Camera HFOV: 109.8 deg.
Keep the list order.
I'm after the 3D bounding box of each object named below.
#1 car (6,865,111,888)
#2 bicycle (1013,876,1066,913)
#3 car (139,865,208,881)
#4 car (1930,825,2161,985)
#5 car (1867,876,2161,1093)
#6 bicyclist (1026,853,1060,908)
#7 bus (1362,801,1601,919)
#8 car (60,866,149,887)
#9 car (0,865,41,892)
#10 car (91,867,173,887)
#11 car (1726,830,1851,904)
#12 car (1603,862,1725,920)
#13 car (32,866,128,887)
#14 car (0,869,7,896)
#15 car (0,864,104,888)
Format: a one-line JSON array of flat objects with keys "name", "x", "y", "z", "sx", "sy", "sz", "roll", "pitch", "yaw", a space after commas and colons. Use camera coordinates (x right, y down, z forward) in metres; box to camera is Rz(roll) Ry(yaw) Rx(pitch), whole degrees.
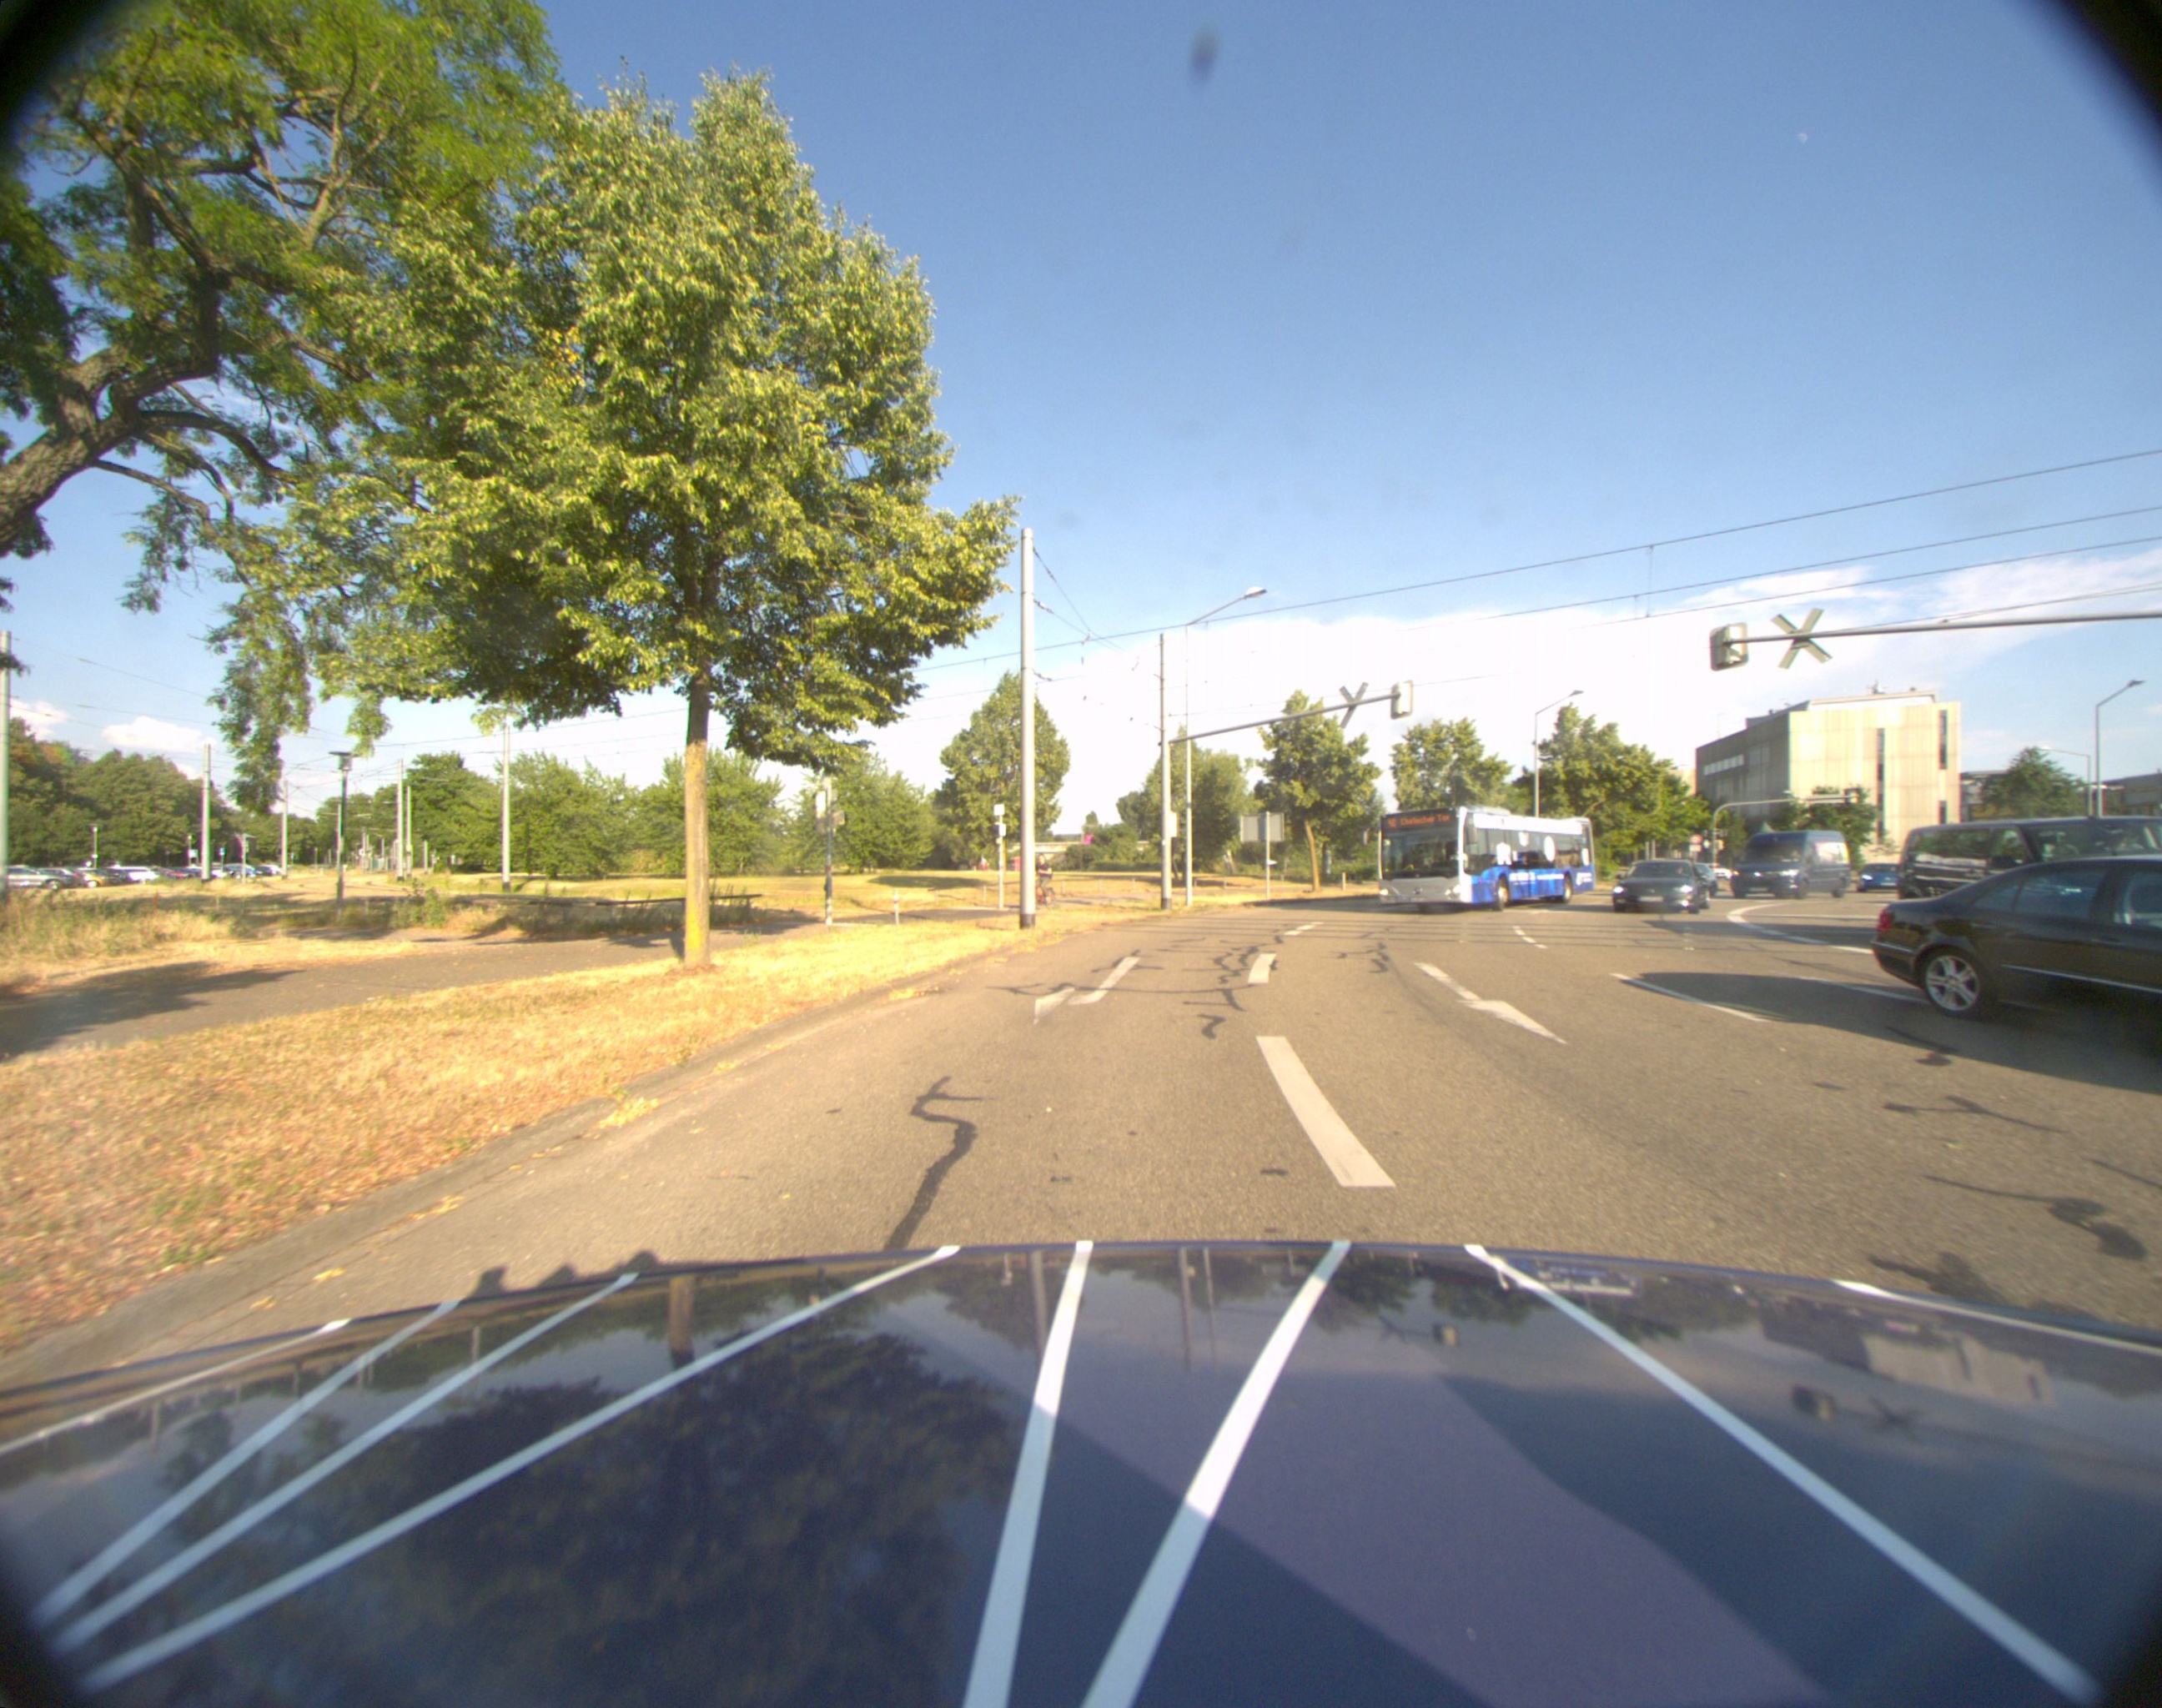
[{"name": "car", "x": -65.282, "y": 1.414, "z": 48.619, "sx": 1.781, "sy": 1.363, "sz": 3.806, "roll": 0, "pitch": 0, "yaw": 44}, {"name": "bicycle", "x": -1.342, "y": 1.298, "z": 25.025, "sx": 0.639, "sy": 1.116, "sz": 2.129, "roll": 0, "pitch": 0, "yaw": 31}, {"name": "car", "x": -81.001, "y": 1.697, "z": 67.908, "sx": 1.781, "sy": 1.283, "sz": 3.806, "roll": 0, "pitch": 0, "yaw": 44}, {"name": "car", "x": 15.214, "y": 0.647, "z": 11.935, "sx": 2.088, "sy": 2.035, "sz": 5.255, "roll": 0, "pitch": 0, "yaw": 44}, {"name": "car", "x": 8.158, "y": 0.898, "z": 4.994, "sx": 1.840, "sy": 1.398, "sz": 4.705, "roll": 0, "pitch": 0, "yaw": 12}, {"name": "bicyclist", "x": -1.260, "y": 0.848, "z": 25.209, "sx": 0.726, "sy": 1.790, "sz": 0.940, "roll": 0, "pitch": 0, "yaw": 30}, {"name": "bus", "x": 13.474, "y": 0.143, "z": 24.643, "sx": 12.204, "sy": 3.044, "sz": 2.659, "roll": 0, "pitch": 0, "yaw": -41}, {"name": "car", "x": -70.536, "y": 1.589, "z": 54.967, "sx": 1.781, "sy": 1.363, "sz": 3.806, "roll": 0, "pitch": 0, "yaw": 44}, {"name": "car", "x": -58.336, "y": 1.313, "z": 40.037, "sx": 3.805, "sy": 1.363, "sz": 1.781, "roll": 0, "pitch": 0, "yaw": -40}, {"name": "car", "x": -73.379, "y": 1.757, "z": 58.807, "sx": 1.781, "sy": 1.363, "sz": 3.806, "roll": 0, "pitch": 0, "yaw": 44}, {"name": "car", "x": 26.757, "y": 0.509, "z": 28.680, "sx": 5.495, "sy": 2.578, "sz": 1.996, "roll": 0, "pitch": -2, "yaw": -31}, {"name": "car", "x": 16.233, "y": 0.945, "z": 21.092, "sx": 4.396, "sy": 1.428, "sz": 1.806, "roll": 0, "pitch": 0, "yaw": -41}, {"name": "car", "x": -68.944, "y": 1.528, "z": 52.413, "sx": 1.781, "sy": 1.363, "sz": 3.806, "roll": 0, "pitch": 0, "yaw": 44}, {"name": "car", "x": -56.462, "y": 1.459, "z": 37.401, "sx": 3.805, "sy": 1.363, "sz": 1.781, "roll": 0, "pitch": 0, "yaw": -40}, {"name": "car", "x": -63.423, "y": 1.327, "z": 46.782, "sx": 1.781, "sy": 1.363, "sz": 3.806, "roll": 0, "pitch": 0, "yaw": 44}]
